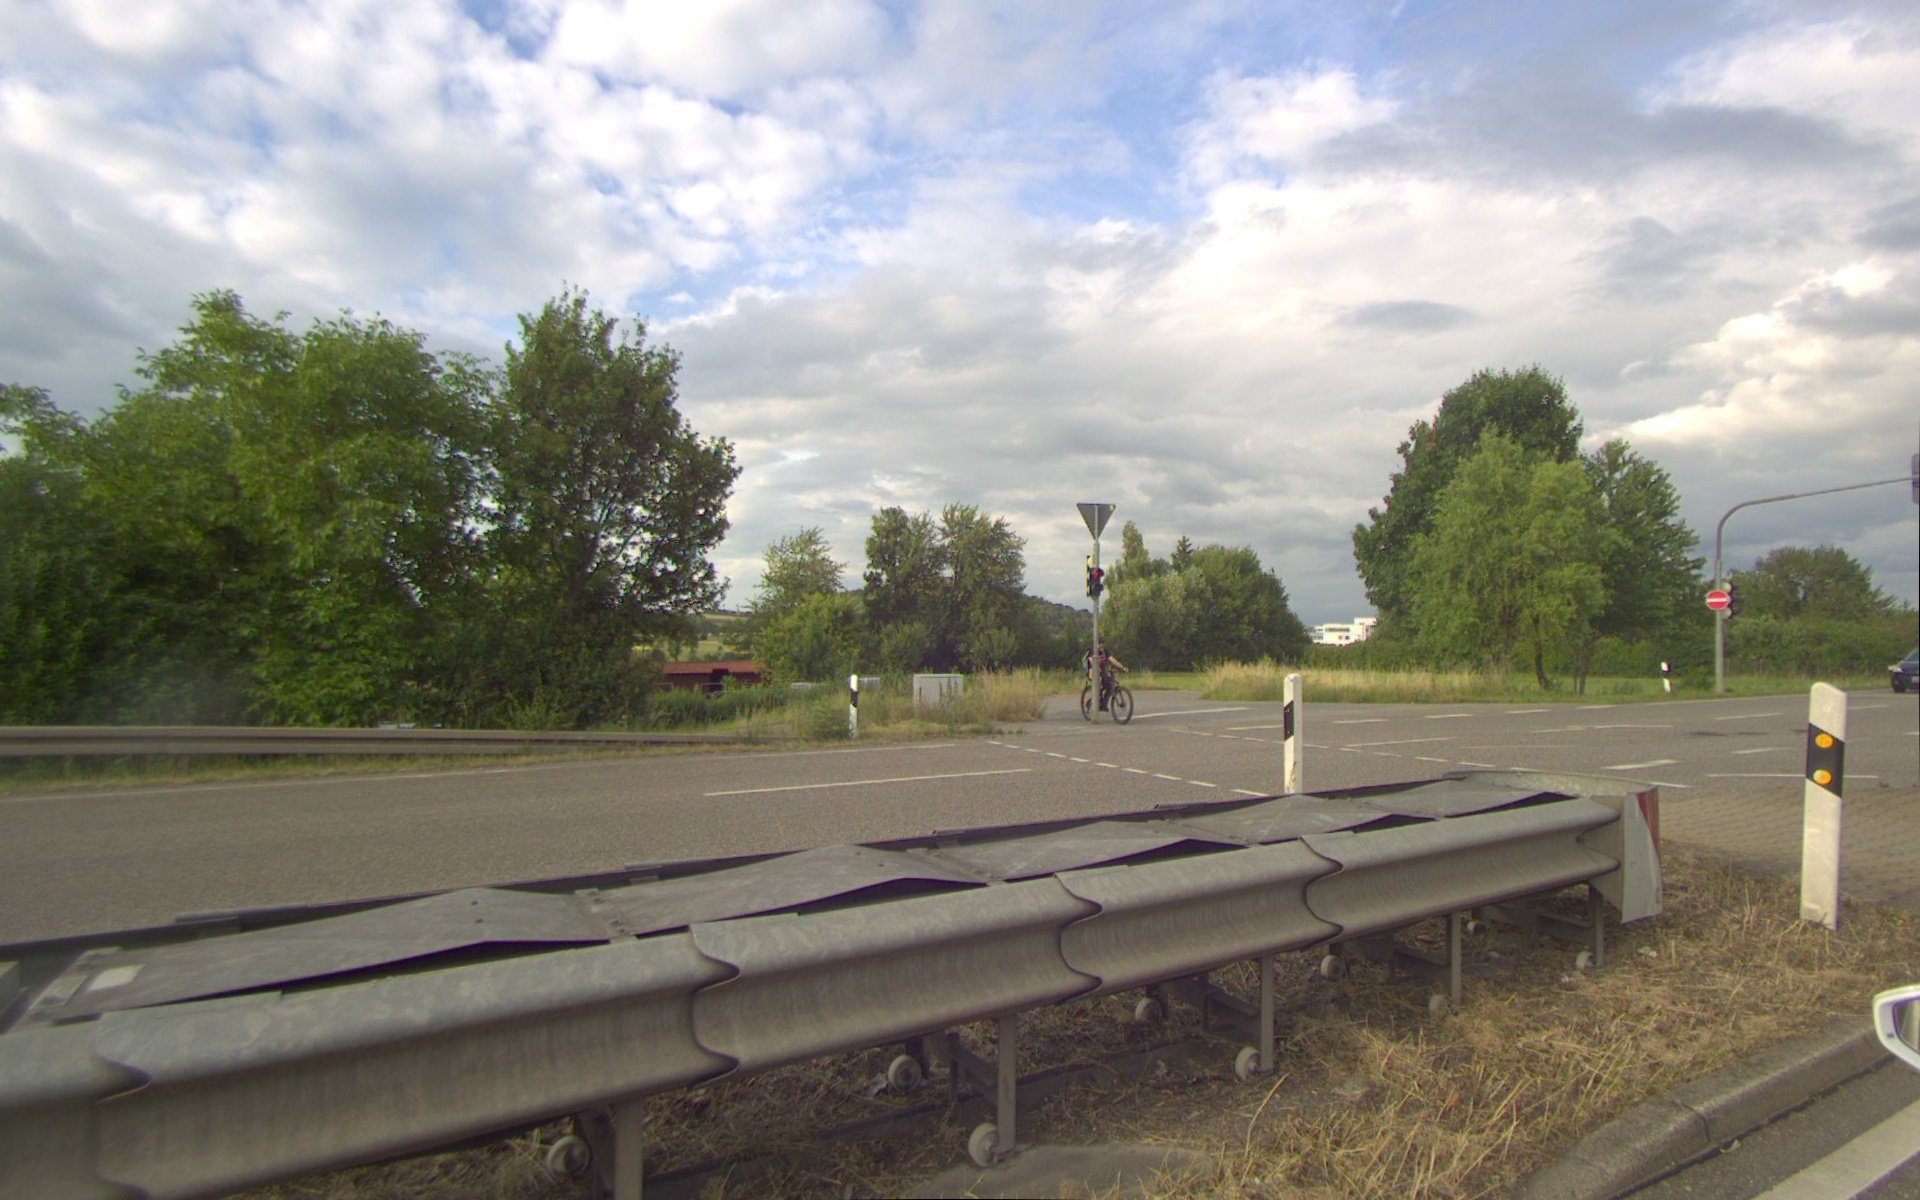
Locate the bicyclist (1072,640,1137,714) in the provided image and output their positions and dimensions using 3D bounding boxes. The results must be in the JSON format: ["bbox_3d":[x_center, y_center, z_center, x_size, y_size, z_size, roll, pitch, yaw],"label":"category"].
[{"bbox_3d":[2.973,1.562,20.788,0.804,1.470,1.219,1,-2,-24],"label":"bicyclist"}]

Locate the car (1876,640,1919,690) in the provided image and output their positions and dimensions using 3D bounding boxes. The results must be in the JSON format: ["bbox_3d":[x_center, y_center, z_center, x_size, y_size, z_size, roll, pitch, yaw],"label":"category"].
[{"bbox_3d":[31.757,2.062,32.395,4.881,1.556,1.899,1,-2,-30],"label":"car"}]

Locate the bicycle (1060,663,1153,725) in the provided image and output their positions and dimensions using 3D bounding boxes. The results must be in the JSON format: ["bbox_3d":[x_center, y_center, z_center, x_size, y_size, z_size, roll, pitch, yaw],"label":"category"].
[{"bbox_3d":[2.976,1.899,20.744,0.804,1.152,2.314,1,-2,-24],"label":"bicycle"}]
